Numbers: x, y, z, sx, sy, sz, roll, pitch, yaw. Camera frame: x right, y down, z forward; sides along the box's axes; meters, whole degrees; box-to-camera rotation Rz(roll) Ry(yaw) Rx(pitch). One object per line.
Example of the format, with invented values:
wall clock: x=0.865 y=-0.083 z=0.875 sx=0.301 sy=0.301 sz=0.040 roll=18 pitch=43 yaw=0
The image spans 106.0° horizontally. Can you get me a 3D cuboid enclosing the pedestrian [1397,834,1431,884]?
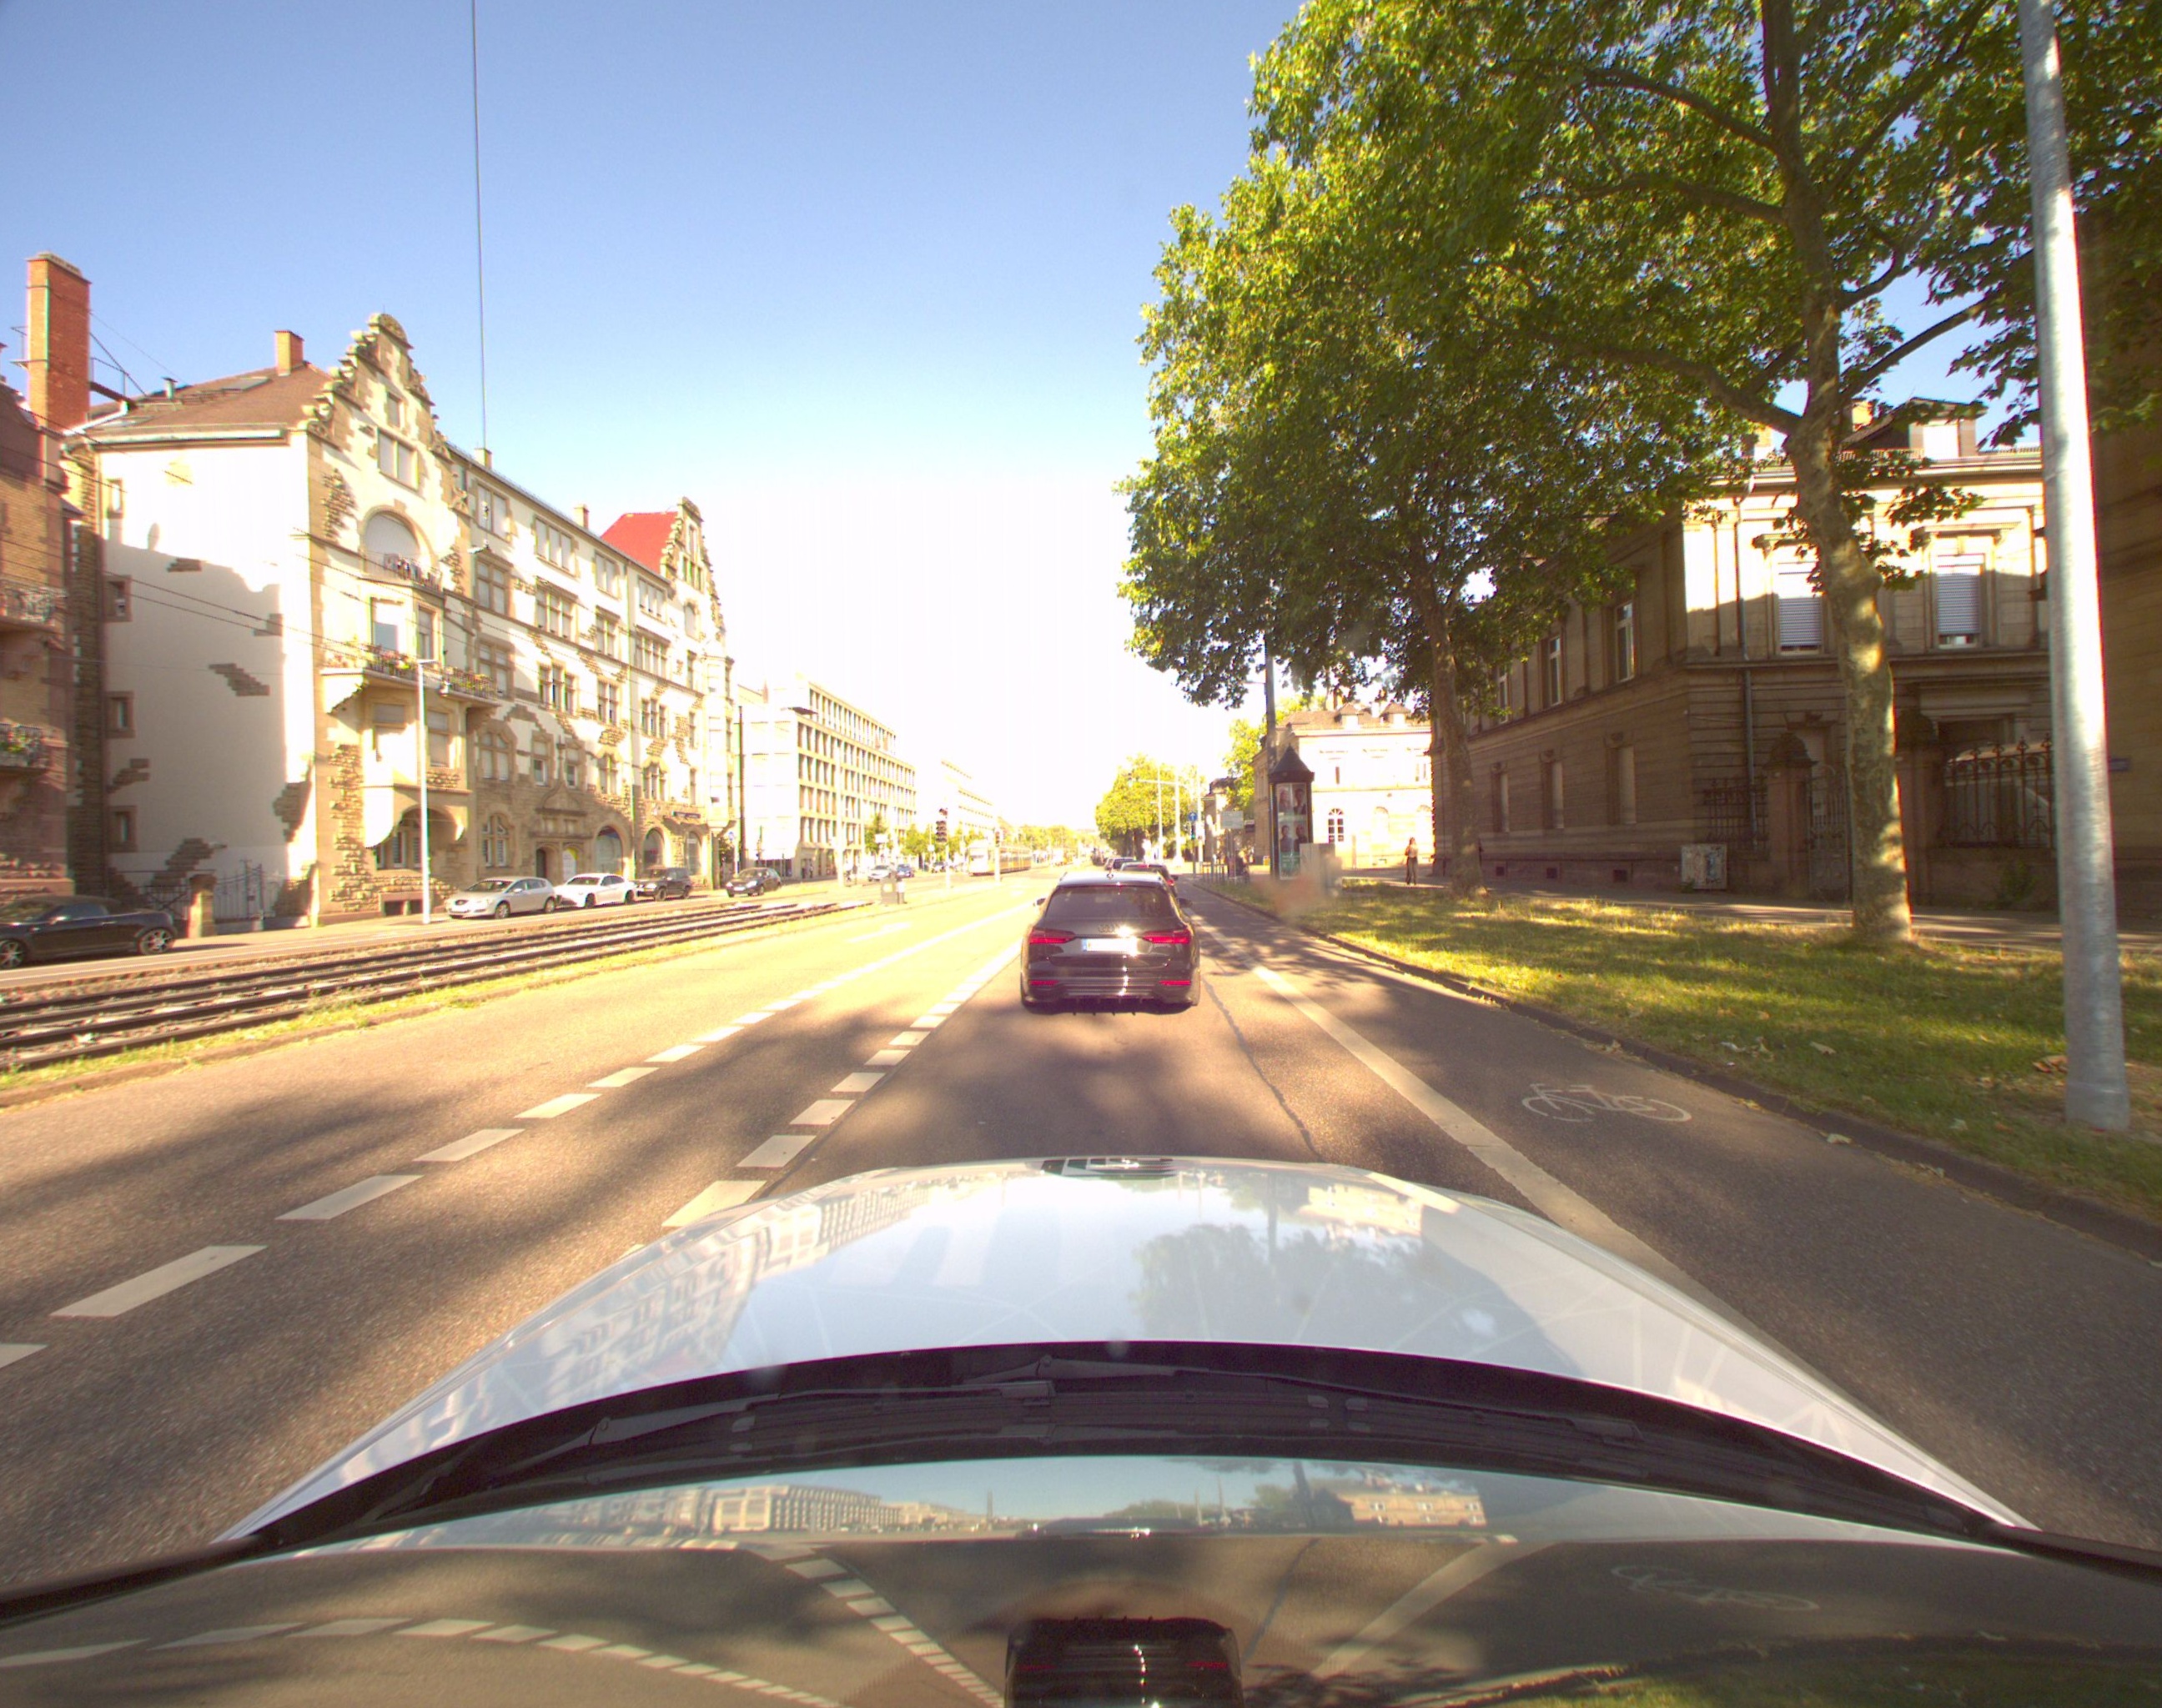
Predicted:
pedestrian: x=11.743 y=0.188 z=28.768 sx=0.766 sy=1.709 sz=1.043 roll=-2 pitch=-1 yaw=4

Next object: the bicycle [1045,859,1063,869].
bicycle: x=-3.186 y=1.135 z=96.249 sx=2.010 sy=1.108 sz=0.760 roll=-2 pitch=0 yaw=-16

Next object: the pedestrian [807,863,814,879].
pedestrian: x=-30.666 y=1.909 z=92.318 sx=0.535 sy=1.843 sz=0.438 roll=-2 pitch=-1 yaw=-36

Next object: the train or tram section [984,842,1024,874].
train or tram section: x=-9.088 y=0.457 z=97.773 sx=2.802 sy=3.489 sz=13.211 roll=-2 pitch=0 yaw=2

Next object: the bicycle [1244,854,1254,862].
bicycle: x=21.522 y=0.492 z=104.089 sx=0.525 sy=1.047 sz=2.354 roll=-2 pitch=0 yaw=-6

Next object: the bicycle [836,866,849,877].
bicycle: x=-28.133 y=2.079 z=96.162 sx=0.573 sy=1.215 sz=2.391 roll=-2 pitch=0 yaw=4

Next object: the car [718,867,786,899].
car: x=-17.119 y=1.461 z=42.618 sx=1.814 sy=1.457 sz=4.164 roll=-2 pitch=0 yaw=0

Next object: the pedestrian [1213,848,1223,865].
pedestrian: x=16.052 y=0.282 z=95.593 sx=0.975 sy=1.865 sz=0.827 roll=-2 pitch=0 yaw=4

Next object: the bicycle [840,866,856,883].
bicycle: x=-20.248 y=1.792 z=70.721 sx=0.682 sy=1.382 sz=1.948 roll=-2 pitch=0 yaw=4

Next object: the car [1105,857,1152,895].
car: x=2.021 y=0.888 z=34.949 sx=1.895 sy=1.486 sz=4.147 roll=-1 pitch=0 yaw=3

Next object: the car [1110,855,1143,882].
car: x=2.715 y=0.847 z=48.710 sx=1.895 sy=1.486 sz=4.147 roll=-1 pitch=0 yaw=3

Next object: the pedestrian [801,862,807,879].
pedestrian: x=-31.357 y=1.880 z=92.082 sx=0.475 sy=1.843 sz=0.438 roll=-2 pitch=-1 yaw=-36

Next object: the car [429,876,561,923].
car: x=-21.159 y=1.596 z=29.643 sx=1.704 sy=1.431 sz=4.222 roll=0 pitch=0 yaw=0

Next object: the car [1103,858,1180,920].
car: x=1.608 y=0.887 z=22.368 sx=1.895 sy=1.486 sz=4.147 roll=-1 pitch=0 yaw=3

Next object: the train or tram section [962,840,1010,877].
train or tram section: x=-9.656 y=0.442 z=84.558 sx=2.802 sy=3.489 sz=13.211 roll=-2 pitch=0 yaw=2

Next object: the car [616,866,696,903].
car: x=-21.066 y=1.460 z=40.560 sx=1.711 sy=1.675 sz=4.217 roll=0 pitch=0 yaw=1

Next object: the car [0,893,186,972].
car: x=-21.576 y=1.589 z=16.988 sx=1.616 sy=1.354 sz=3.727 roll=1 pitch=0 yaw=1

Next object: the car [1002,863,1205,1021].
car: x=0.310 y=0.859 z=9.803 sx=1.895 sy=1.421 sz=4.147 roll=-1 pitch=0 yaw=3

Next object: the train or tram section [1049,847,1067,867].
train or tram section: x=-4.125 y=0.614 z=149.020 sx=2.600 sy=3.451 sz=11.132 roll=-2 pitch=0 yaw=1

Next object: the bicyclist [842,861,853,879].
bicyclist: x=-20.265 y=1.388 z=70.692 sx=0.682 sy=1.563 sz=0.786 roll=-2 pitch=-1 yaw=3

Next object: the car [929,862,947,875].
car: x=-21.677 y=2.178 z=123.481 sx=1.835 sy=1.812 sz=4.114 roll=-2 pitch=0 yaw=1

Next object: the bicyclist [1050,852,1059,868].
bicyclist: x=-3.131 y=0.677 z=96.265 sx=0.758 sy=1.818 sz=0.760 roll=-2 pitch=0 yaw=-16

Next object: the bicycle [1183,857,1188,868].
bicycle: x=11.309 y=0.953 z=88.128 sx=0.433 sy=1.145 sz=1.340 roll=-2 pitch=0 yaw=1

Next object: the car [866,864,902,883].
car: x=-16.938 y=1.639 z=70.073 sx=1.813 sy=1.457 sz=4.542 roll=-2 pitch=0 yaw=2

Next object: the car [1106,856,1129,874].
car: x=3.118 y=0.909 z=69.889 sx=1.895 sy=1.486 sz=4.147 roll=-1 pitch=0 yaw=3

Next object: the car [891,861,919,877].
car: x=-17.772 y=1.530 z=82.319 sx=1.813 sy=1.457 sz=4.158 roll=-2 pitch=0 yaw=2

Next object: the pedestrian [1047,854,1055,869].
pedestrian: x=-3.608 y=0.929 z=97.804 sx=0.741 sy=1.741 sz=0.660 roll=-2 pitch=0 yaw=-15

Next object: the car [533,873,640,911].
car: x=-21.235 y=1.589 z=35.198 sx=1.711 sy=1.423 sz=4.656 roll=0 pitch=0 yaw=1

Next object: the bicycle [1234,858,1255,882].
bicycle: x=7.374 y=0.706 z=36.742 sx=0.538 sy=1.061 sz=1.770 roll=-2 pitch=0 yaw=-1

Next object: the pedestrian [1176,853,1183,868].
pedestrian: x=10.653 y=0.711 z=88.203 sx=0.679 sy=1.660 sz=0.758 roll=-2 pitch=0 yaw=0

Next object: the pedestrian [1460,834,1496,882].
pedestrian: x=13.821 y=0.138 z=28.387 sx=0.766 sy=1.606 sz=0.987 roll=-2 pitch=-1 yaw=4
